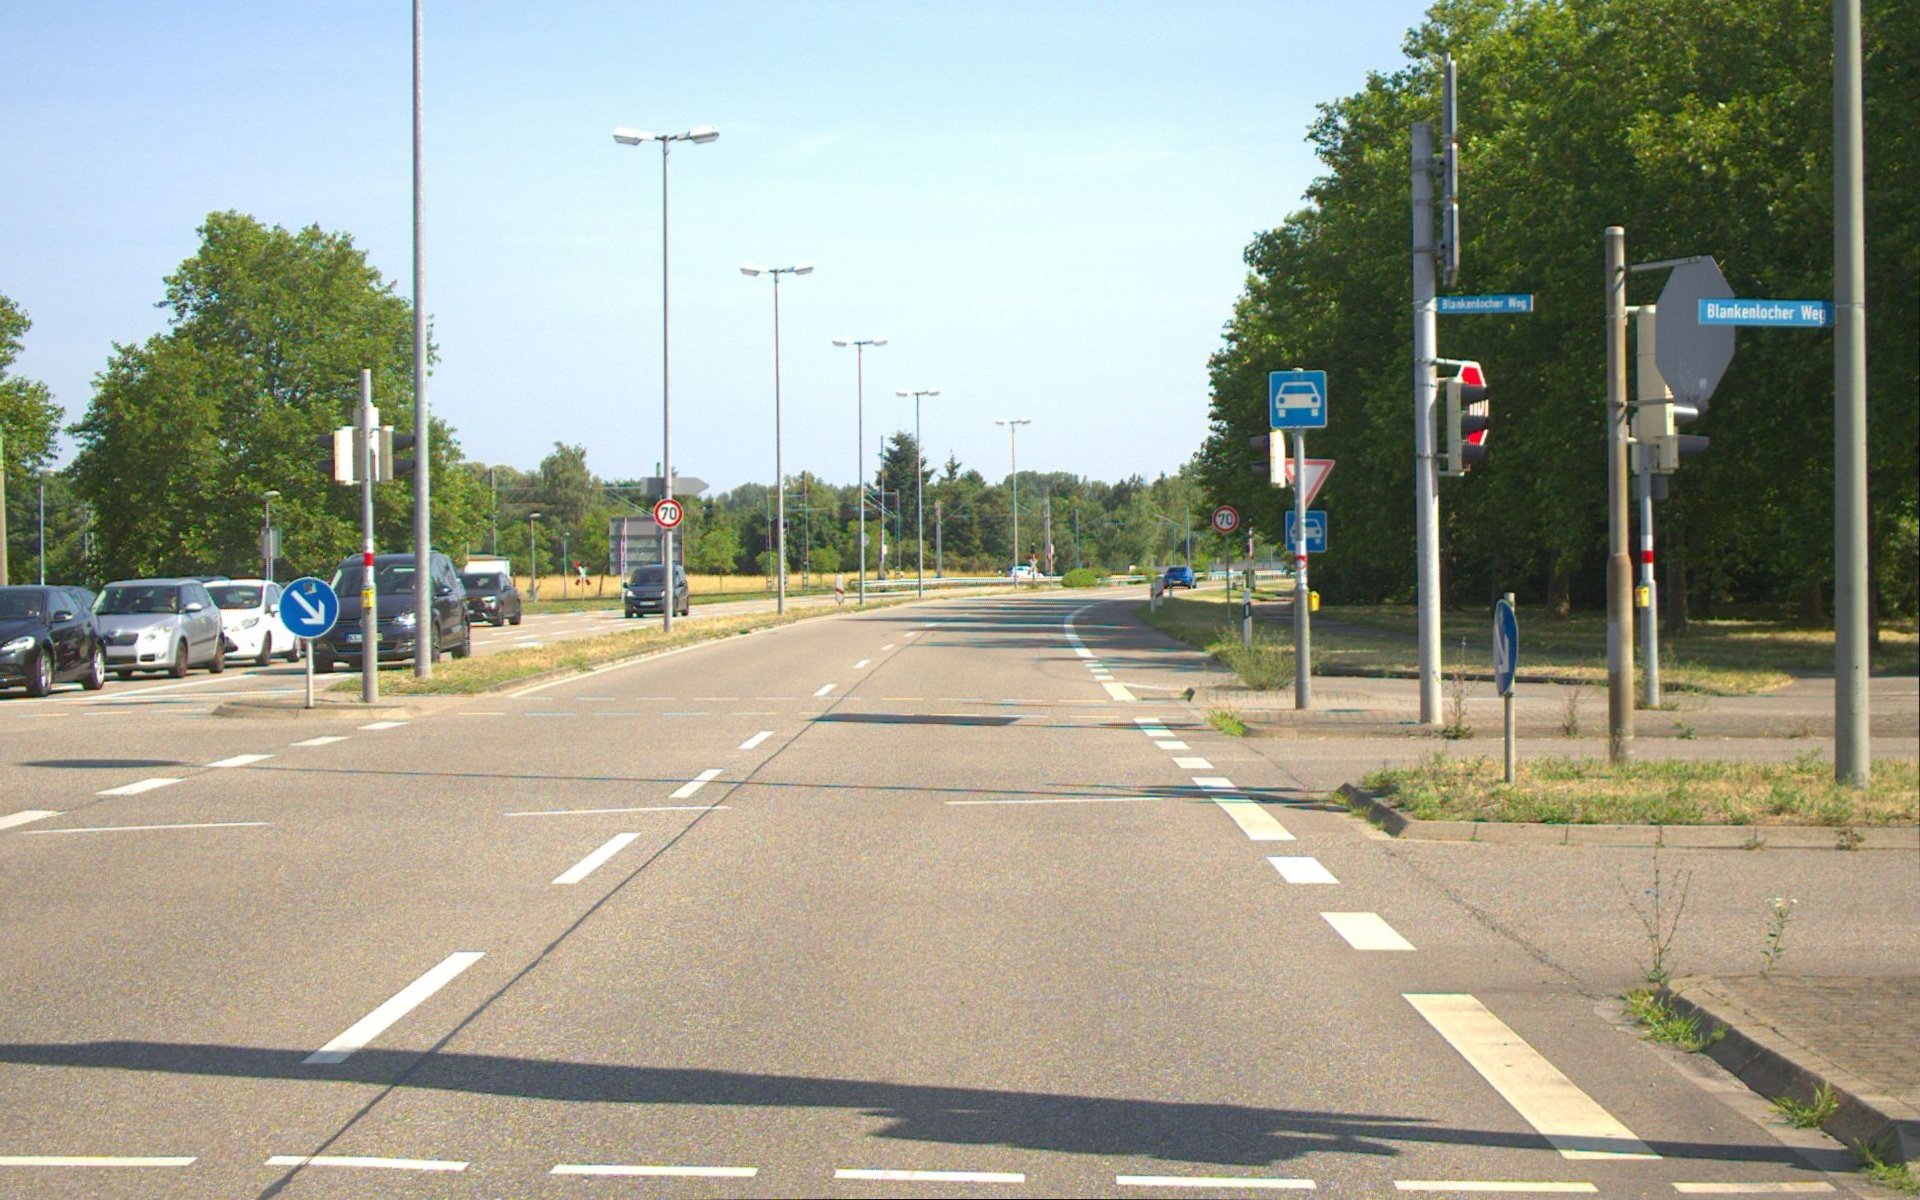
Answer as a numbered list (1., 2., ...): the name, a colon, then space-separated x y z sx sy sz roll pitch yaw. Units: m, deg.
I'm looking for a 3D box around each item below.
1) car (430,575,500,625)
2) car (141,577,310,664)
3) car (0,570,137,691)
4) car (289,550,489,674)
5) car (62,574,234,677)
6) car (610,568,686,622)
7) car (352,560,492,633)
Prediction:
1. car: -14.878 -0.017 103.516 1.981 1.452 4.230 -1 1 -7
2. car: -12.330 0.316 57.945 1.829 1.381 3.843 -1 1 3
3. car: -12.116 0.355 43.810 1.981 1.452 4.332 -1 1 3
4. car: -8.443 0.151 51.226 1.981 1.744 4.507 -1 1 3
5. car: -12.063 0.354 51.289 1.619 1.452 3.871 -1 1 0
6. car: -10.540 -0.190 116.299 1.981 1.773 4.489 -1 1 2
7. car: -11.189 -0.101 71.800 1.981 1.452 4.450 -1 1 3
